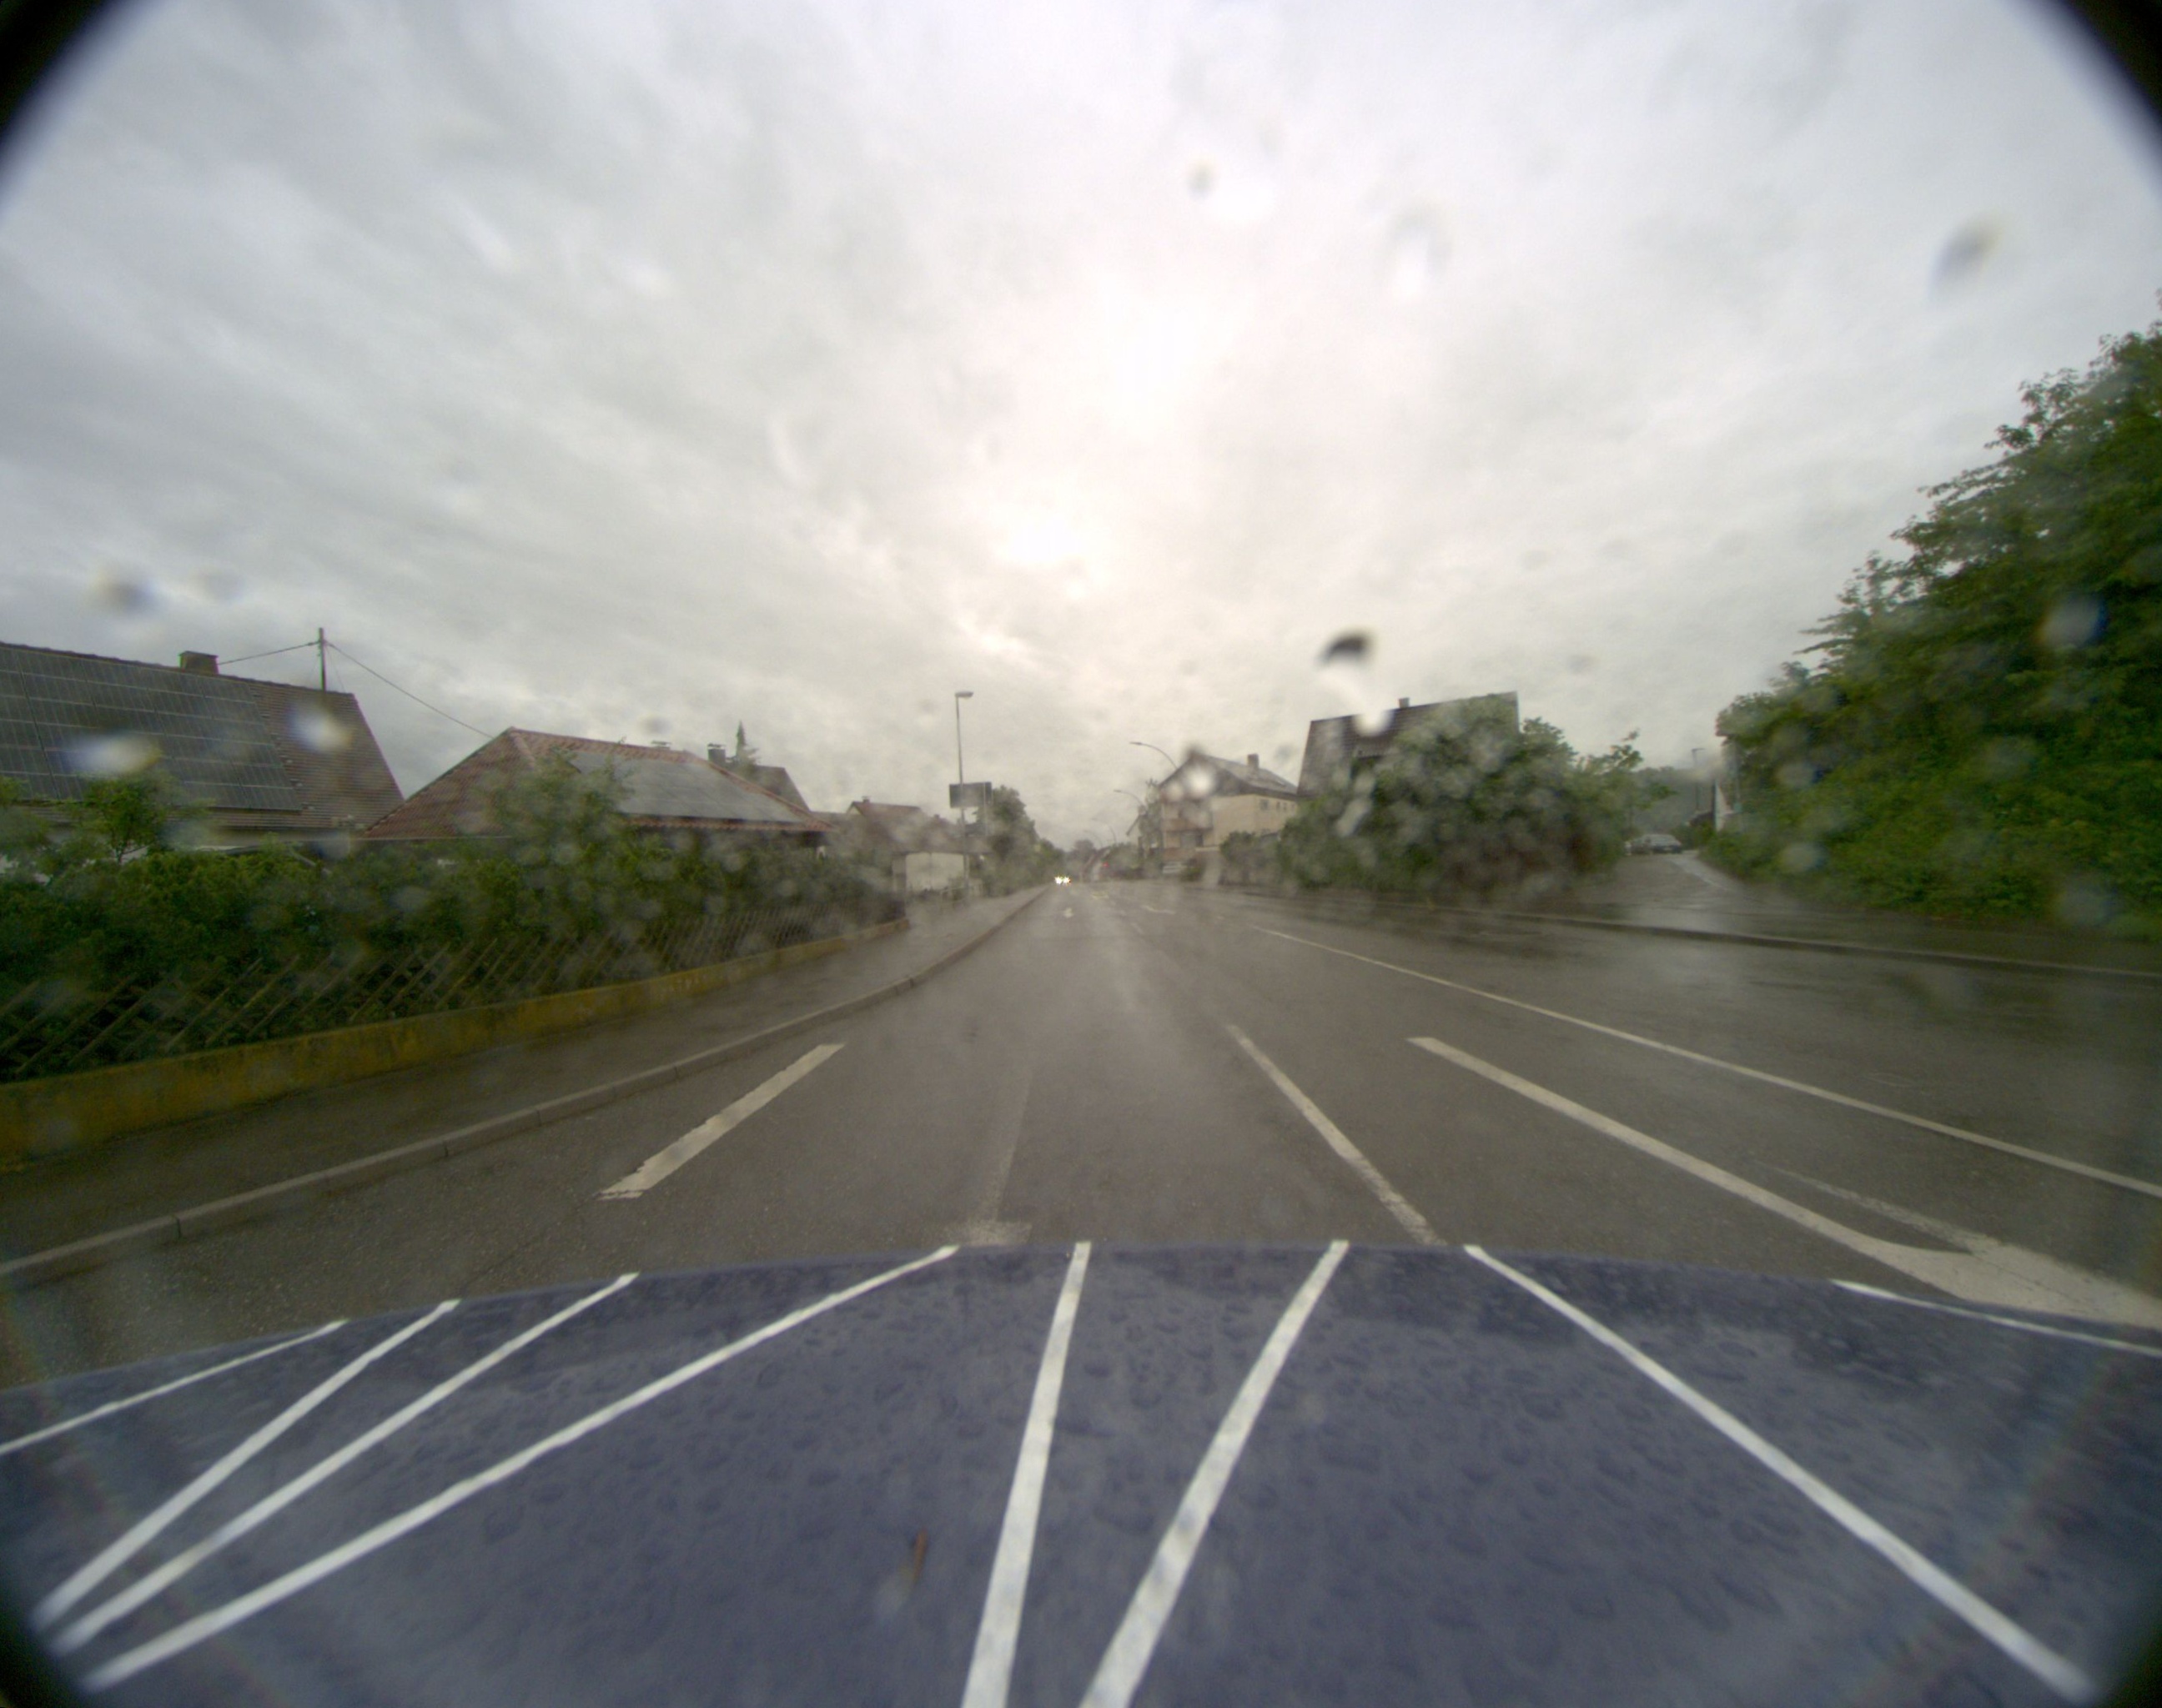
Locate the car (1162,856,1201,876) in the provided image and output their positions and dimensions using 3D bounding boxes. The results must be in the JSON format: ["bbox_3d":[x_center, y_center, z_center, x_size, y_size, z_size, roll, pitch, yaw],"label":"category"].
[{"bbox_3d":[8.929,1.058,67.079,1.864,1.510,4.007,-3,0,32],"label":"car"}]

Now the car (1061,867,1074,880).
[{"bbox_3d":[-2.290,3.290,130.112,1.998,2.002,4.000,-3,0,1],"label":"car"}]

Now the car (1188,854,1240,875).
[{"bbox_3d":[10.726,0.844,61.197,3.661,1.510,1.758,-3,0,35],"label":"car"}]

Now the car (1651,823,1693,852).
[{"bbox_3d":[41.124,-1.151,52.851,1.995,1.848,4.008,-3,0,41],"label":"car"}]

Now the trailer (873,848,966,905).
[{"bbox_3d":[-7.752,1.041,36.946,1.645,2.502,4.712,-3,-1,28],"label":"trailer"}]

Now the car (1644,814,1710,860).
[{"bbox_3d":[22.965,-0.660,29.213,1.706,1.579,3.669,-2,0,42],"label":"car"}]
